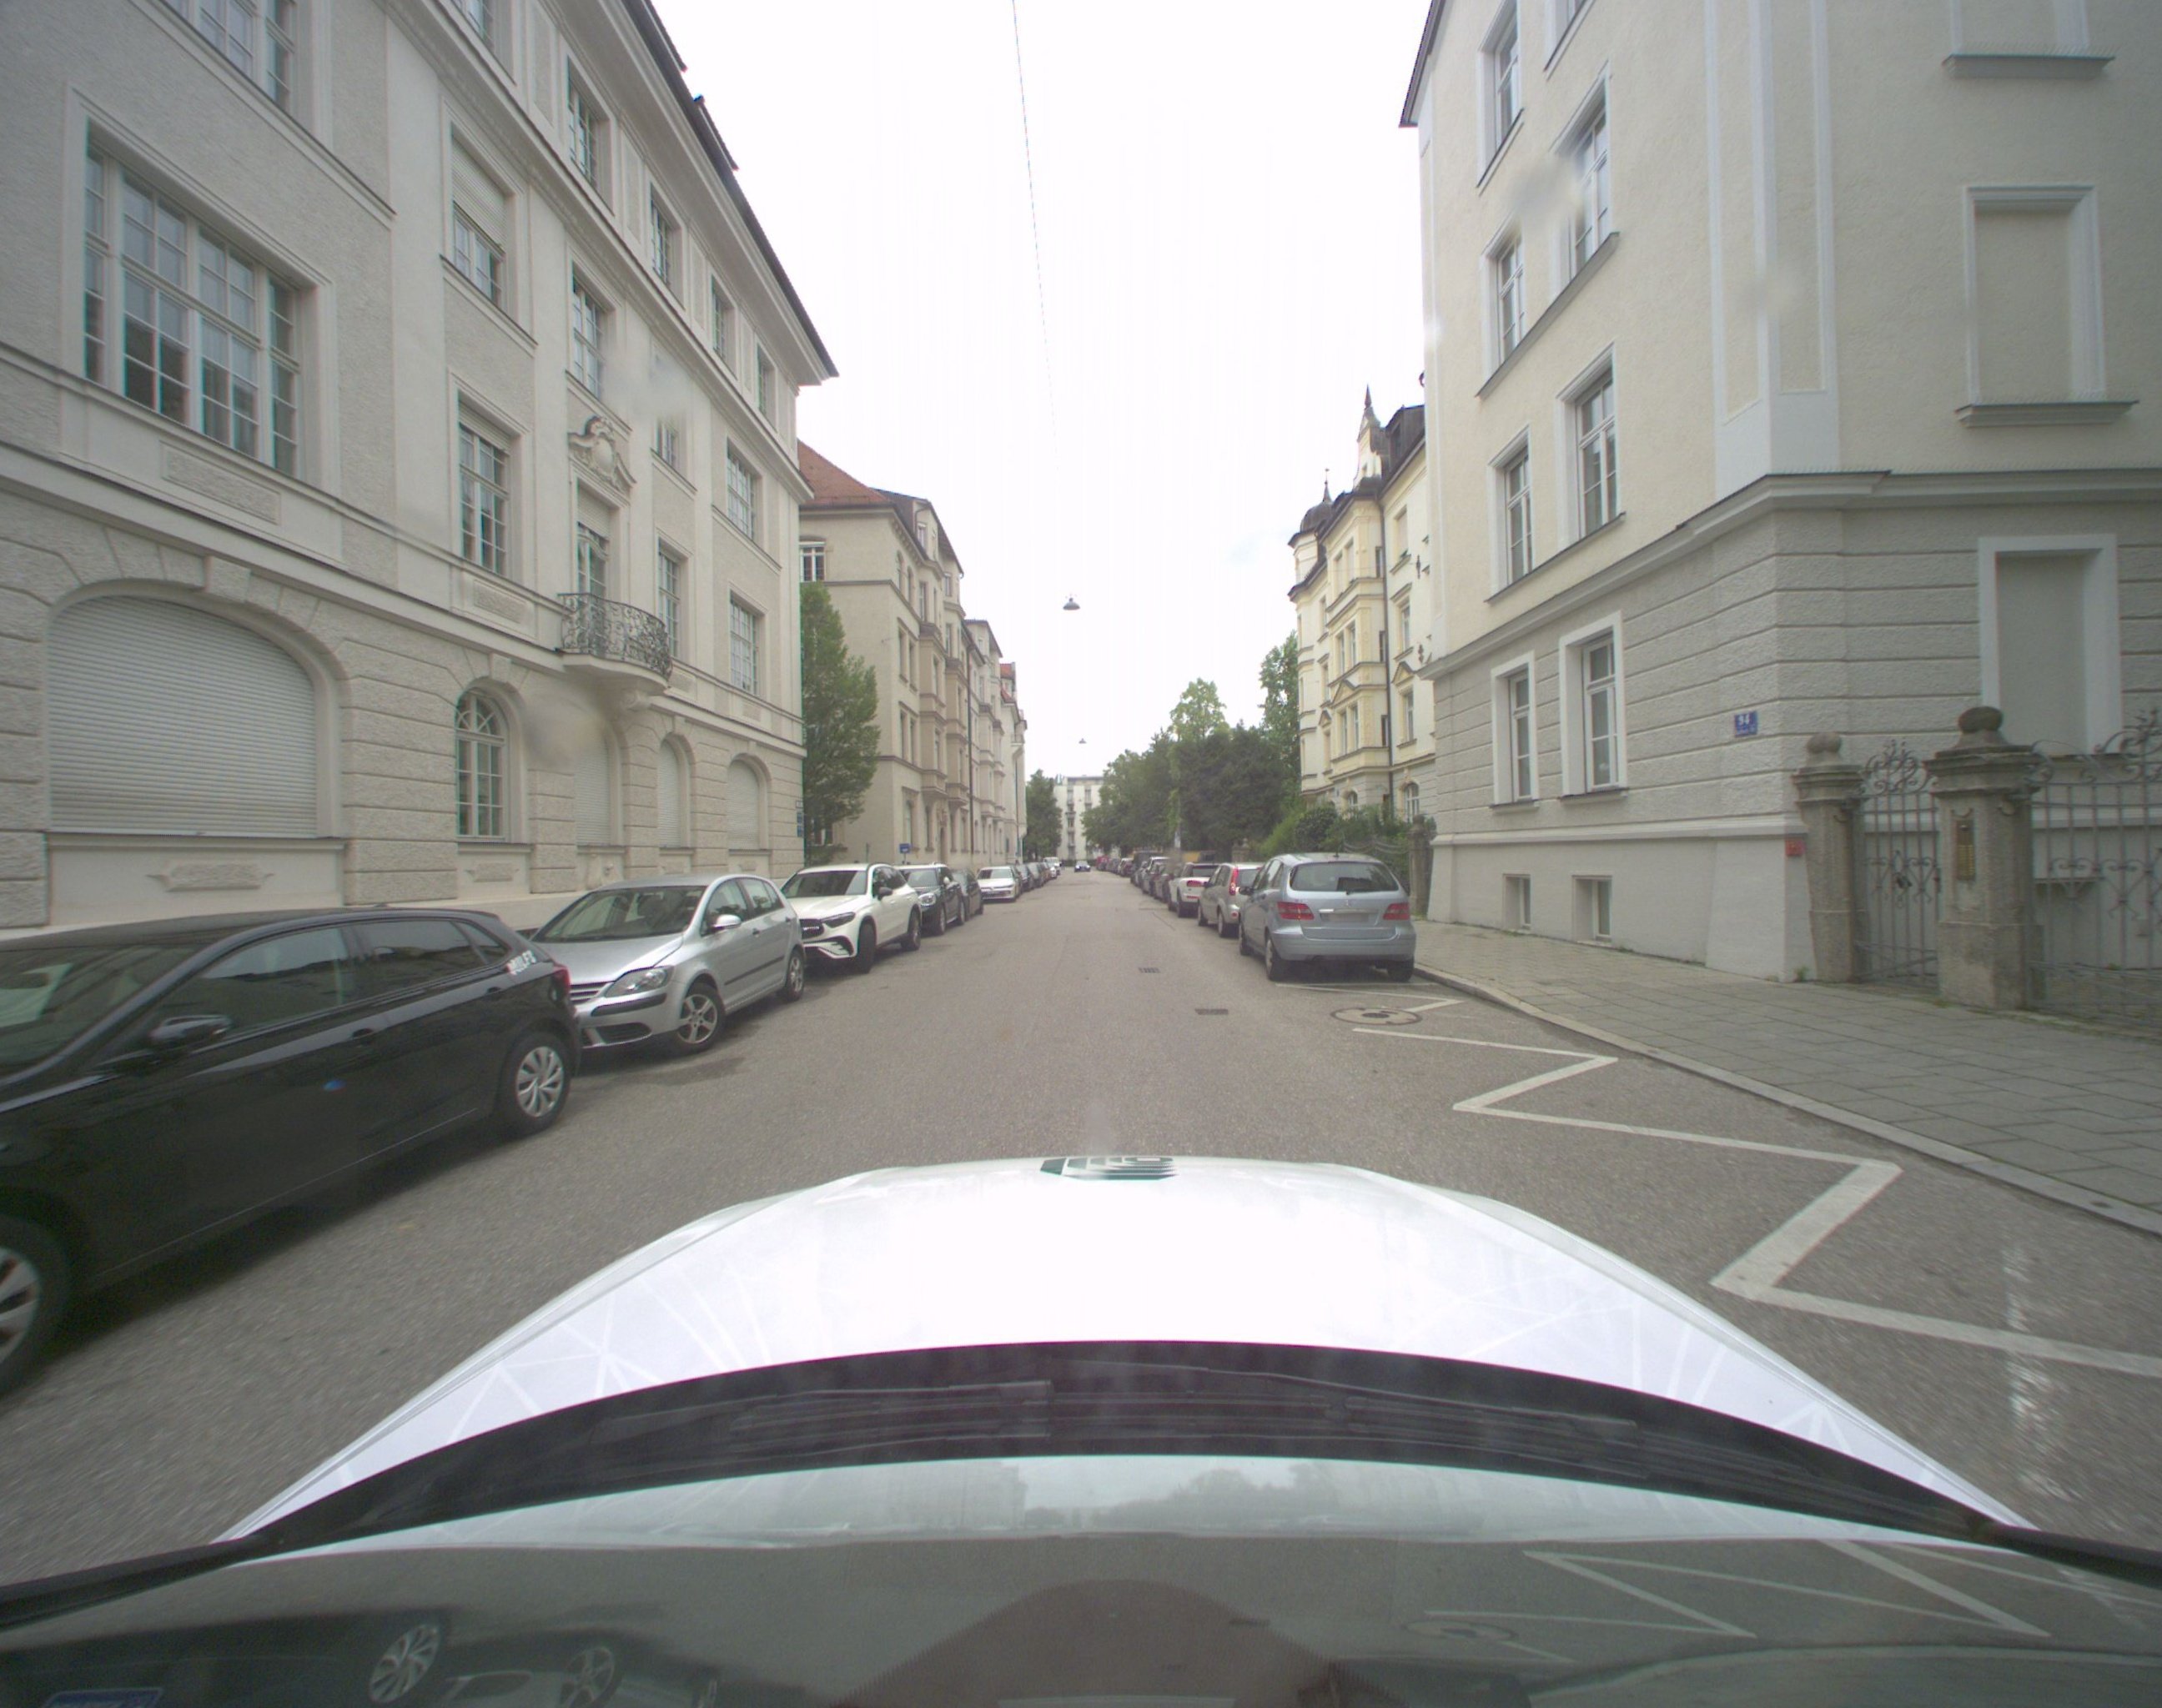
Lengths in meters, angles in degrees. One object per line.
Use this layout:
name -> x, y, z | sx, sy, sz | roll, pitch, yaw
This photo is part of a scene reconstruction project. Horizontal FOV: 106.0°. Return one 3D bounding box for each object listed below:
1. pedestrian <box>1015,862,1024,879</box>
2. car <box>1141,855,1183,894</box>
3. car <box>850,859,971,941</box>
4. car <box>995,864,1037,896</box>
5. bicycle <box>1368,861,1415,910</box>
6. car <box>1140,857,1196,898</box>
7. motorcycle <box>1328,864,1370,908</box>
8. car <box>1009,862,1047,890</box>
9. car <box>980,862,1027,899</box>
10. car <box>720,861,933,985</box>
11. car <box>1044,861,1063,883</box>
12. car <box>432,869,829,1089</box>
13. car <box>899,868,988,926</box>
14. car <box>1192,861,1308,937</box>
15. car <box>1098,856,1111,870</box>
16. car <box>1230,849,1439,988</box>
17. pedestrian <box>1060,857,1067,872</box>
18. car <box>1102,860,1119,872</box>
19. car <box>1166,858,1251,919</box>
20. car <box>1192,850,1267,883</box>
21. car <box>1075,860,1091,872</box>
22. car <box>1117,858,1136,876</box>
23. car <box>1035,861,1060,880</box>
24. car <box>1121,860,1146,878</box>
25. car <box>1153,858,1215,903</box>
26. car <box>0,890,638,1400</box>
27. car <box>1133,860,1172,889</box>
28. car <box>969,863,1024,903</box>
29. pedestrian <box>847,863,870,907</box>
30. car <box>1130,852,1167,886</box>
pedestrian -> -6.230, 1.669, 82.330 | 0.792, 1.679, 0.698 | -2, -1, -9
car -> 3.892, 0.984, 39.783 | 1.716, 1.769, 4.414 | 1, -1, 2
car -> -3.824, 0.968, 19.002 | 1.830, 1.619, 4.244 | -1, 0, 0
car -> -3.431, 1.353, 43.743 | 1.828, 1.434, 4.552 | -3, 0, 0
bicycle -> 7.541, 0.735, 19.863 | 0.432, 1.126, 1.882 | -2, 0, 2
car -> 3.631, 0.957, 34.795 | 1.746, 1.610, 4.420 | 0, 0, -2
motorcycle -> 7.302, 0.855, 22.253 | 0.604, 1.112, 1.967 | -2, 0, 4
car -> -3.162, 1.274, 49.182 | 1.830, 1.436, 4.246 | -4, 0, 1
car -> -3.648, 1.211, 38.913 | 1.765, 1.518, 4.383 | -4, 0, -1
car -> -3.894, 0.959, 13.409 | 1.908, 1.619, 4.573 | -1, 0, 2
car -> -2.956, 1.899, 88.617 | 1.881, 2.127, 4.704 | -4, 0, -1
car -> -4.125, 0.996, 8.414 | 1.778, 1.541, 4.253 | -4, -1, -2
car -> -3.863, 1.167, 23.592 | 1.781, 1.412, 4.367 | -1, 0, 0
car -> 3.417, 0.868, 17.046 | 1.748, 1.406, 3.452 | -1, 0, 1
car -> 3.399, 1.251, 117.957 | 1.829, 1.927, 4.008 | 1, 0, 3
car -> 3.334, 0.741, 11.638 | 1.814, 1.569, 4.404 | 1, 0, 3
pedestrian -> -2.708, 1.664, 126.099 | 0.843, 2.285, 0.838 | -1, -1, -16
car -> 3.846, 1.573, 106.191 | 1.834, 1.519, 3.943 | 0, -1, -3
car -> 3.406, 0.885, 22.470 | 1.778, 1.504, 4.065 | -1, 0, 1
car -> 9.910, 0.794, 54.465 | 4.523, 1.950, 1.900 | -2, 1, -6
car -> 0.214, 1.525, 102.663 | 1.869, 1.428, 4.406 | -1, 0, -1
car -> 4.286, 1.243, 77.485 | 1.509, 1.661, 3.671 | 0, -1, -1
car -> -2.842, 1.387, 69.952 | 1.830, 1.438, 4.276 | -4, 0, 1
car -> 4.314, 1.247, 67.380 | 1.832, 1.413, 4.343 | 0, -1, 1
car -> 3.703, 0.929, 29.980 | 1.679, 1.504, 4.015 | -1, 0, -1
car -> -4.157, 1.004, 3.718 | 1.786, 1.415, 4.279 | -4, -1, 1
car -> 3.867, 1.105, 44.584 | 1.718, 1.519, 3.629 | 1, -1, -1
car -> -3.486, 1.178, 34.266 | 1.831, 1.434, 4.243 | -3, 0, -1
pedestrian -> -8.561, 1.184, 31.308 | 0.671, 1.626, 0.630 | -2, -1, -2
car -> 4.057, 0.847, 49.562 | 1.944, 1.954, 4.666 | 0, 0, 0
